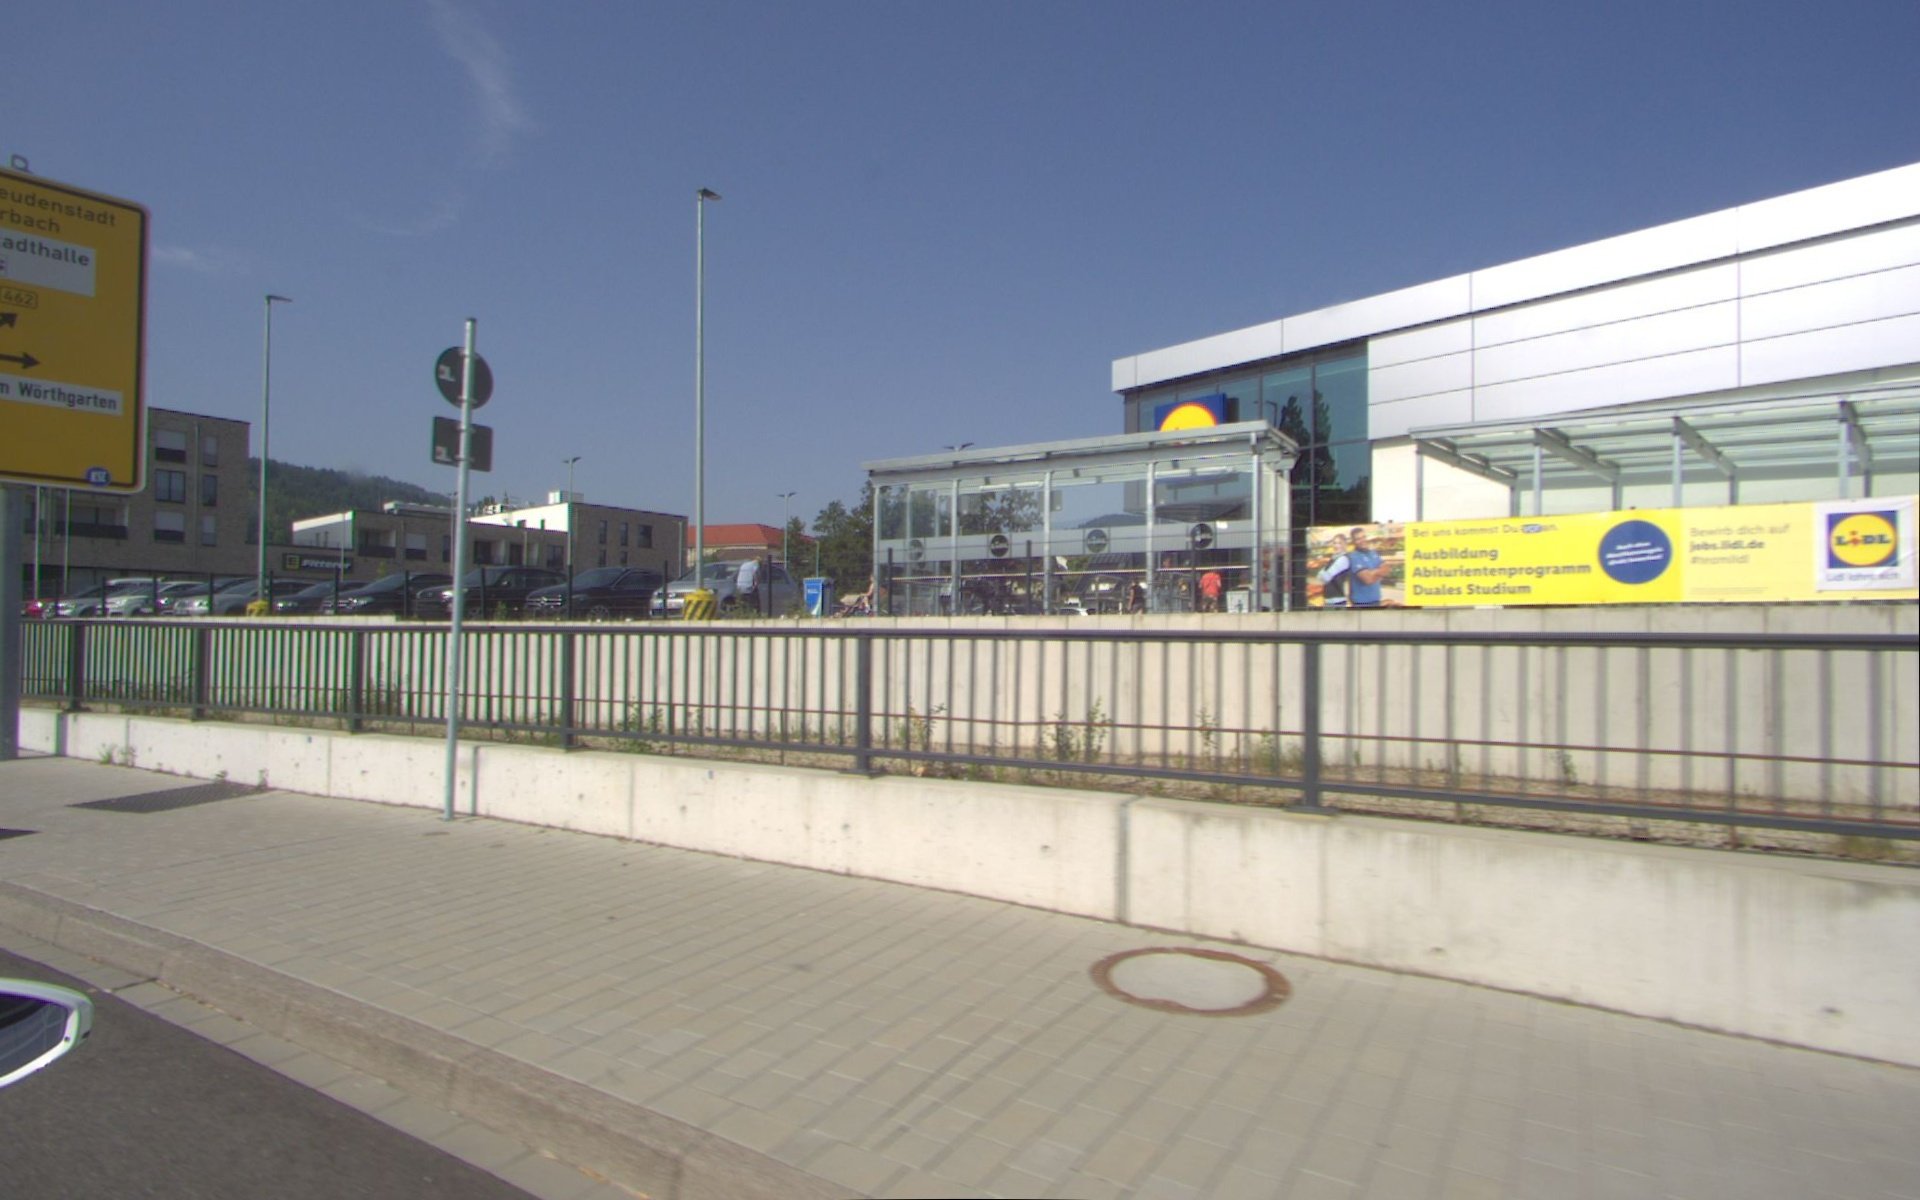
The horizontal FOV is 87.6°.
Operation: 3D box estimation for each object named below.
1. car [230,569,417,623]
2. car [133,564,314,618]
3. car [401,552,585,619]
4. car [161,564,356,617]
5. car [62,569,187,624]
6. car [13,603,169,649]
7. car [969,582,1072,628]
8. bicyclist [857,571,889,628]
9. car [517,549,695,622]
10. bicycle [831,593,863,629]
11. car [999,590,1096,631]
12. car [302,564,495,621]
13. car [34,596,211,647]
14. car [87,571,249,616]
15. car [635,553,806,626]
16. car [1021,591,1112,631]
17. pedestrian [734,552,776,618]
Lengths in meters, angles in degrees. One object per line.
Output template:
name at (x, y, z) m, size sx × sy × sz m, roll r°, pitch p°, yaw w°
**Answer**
car at (-17.093, -0.065, 27.114) m, size 1.701 × 1.261 × 3.970 m, roll 0°, pitch -2°, yaw 24°
car at (-21.820, -0.216, 29.858) m, size 1.633 × 1.359 × 4.040 m, roll 0°, pitch -2°, yaw 25°
car at (-11.487, -0.296, 24.929) m, size 1.696 × 1.422 × 4.009 m, roll 0°, pitch -2°, yaw 24°
car at (-19.780, -0.227, 28.466) m, size 1.637 × 1.261 × 4.282 m, roll 0°, pitch -2°, yaw 24°
car at (-35.496, -0.106, 42.584) m, size 3.962 × 2.163 × 1.981 m, roll 2°, pitch -2°, yaw -44°
car at (-29.133, 0.912, 33.676) m, size 1.682 × 1.448 × 3.558 m, roll 0°, pitch -2°, yaw 25°
car at (2.311, 0.241, 38.604) m, size 3.649 × 1.673 × 1.618 m, roll -1°, pitch -2°, yaw 27°
bicyclist at (-2.242, -0.007, 25.820) m, size 0.711 × 1.441 × 0.431 m, roll 0°, pitch -1°, yaw 19°
car at (-8.065, -0.265, 23.189) m, size 1.461 × 1.422 × 4.065 m, roll 0°, pitch -2°, yaw 24°
bicycle at (-2.943, 0.284, 26.052) m, size 0.667 × 0.912 × 0.533 m, roll 0°, pitch -1°, yaw 19°
car at (3.562, 0.454, 40.840) m, size 3.649 × 1.605 × 1.618 m, roll -1°, pitch -2°, yaw 27°
car at (-14.548, -0.137, 26.215) m, size 1.715 × 1.261 × 4.217 m, roll 0°, pitch -2°, yaw 24°
car at (-27.039, 0.737, 32.469) m, size 1.689 × 1.505 × 4.057 m, roll 0°, pitch -2°, yaw 27°
car at (-24.569, -0.164, 31.182) m, size 1.686 × 1.214 × 3.558 m, roll 0°, pitch -2°, yaw 25°
car at (-5.115, -0.166, 21.919) m, size 1.653 × 1.381 × 3.809 m, roll 0°, pitch -2°, yaw 24°
car at (4.573, 0.497, 43.052) m, size 3.571 × 1.651 × 1.597 m, roll -1°, pitch -2°, yaw 27°
pedestrian at (-4.270, -0.293, 20.864) m, size 0.646 × 1.328 × 0.547 m, roll -1°, pitch -2°, yaw 27°
